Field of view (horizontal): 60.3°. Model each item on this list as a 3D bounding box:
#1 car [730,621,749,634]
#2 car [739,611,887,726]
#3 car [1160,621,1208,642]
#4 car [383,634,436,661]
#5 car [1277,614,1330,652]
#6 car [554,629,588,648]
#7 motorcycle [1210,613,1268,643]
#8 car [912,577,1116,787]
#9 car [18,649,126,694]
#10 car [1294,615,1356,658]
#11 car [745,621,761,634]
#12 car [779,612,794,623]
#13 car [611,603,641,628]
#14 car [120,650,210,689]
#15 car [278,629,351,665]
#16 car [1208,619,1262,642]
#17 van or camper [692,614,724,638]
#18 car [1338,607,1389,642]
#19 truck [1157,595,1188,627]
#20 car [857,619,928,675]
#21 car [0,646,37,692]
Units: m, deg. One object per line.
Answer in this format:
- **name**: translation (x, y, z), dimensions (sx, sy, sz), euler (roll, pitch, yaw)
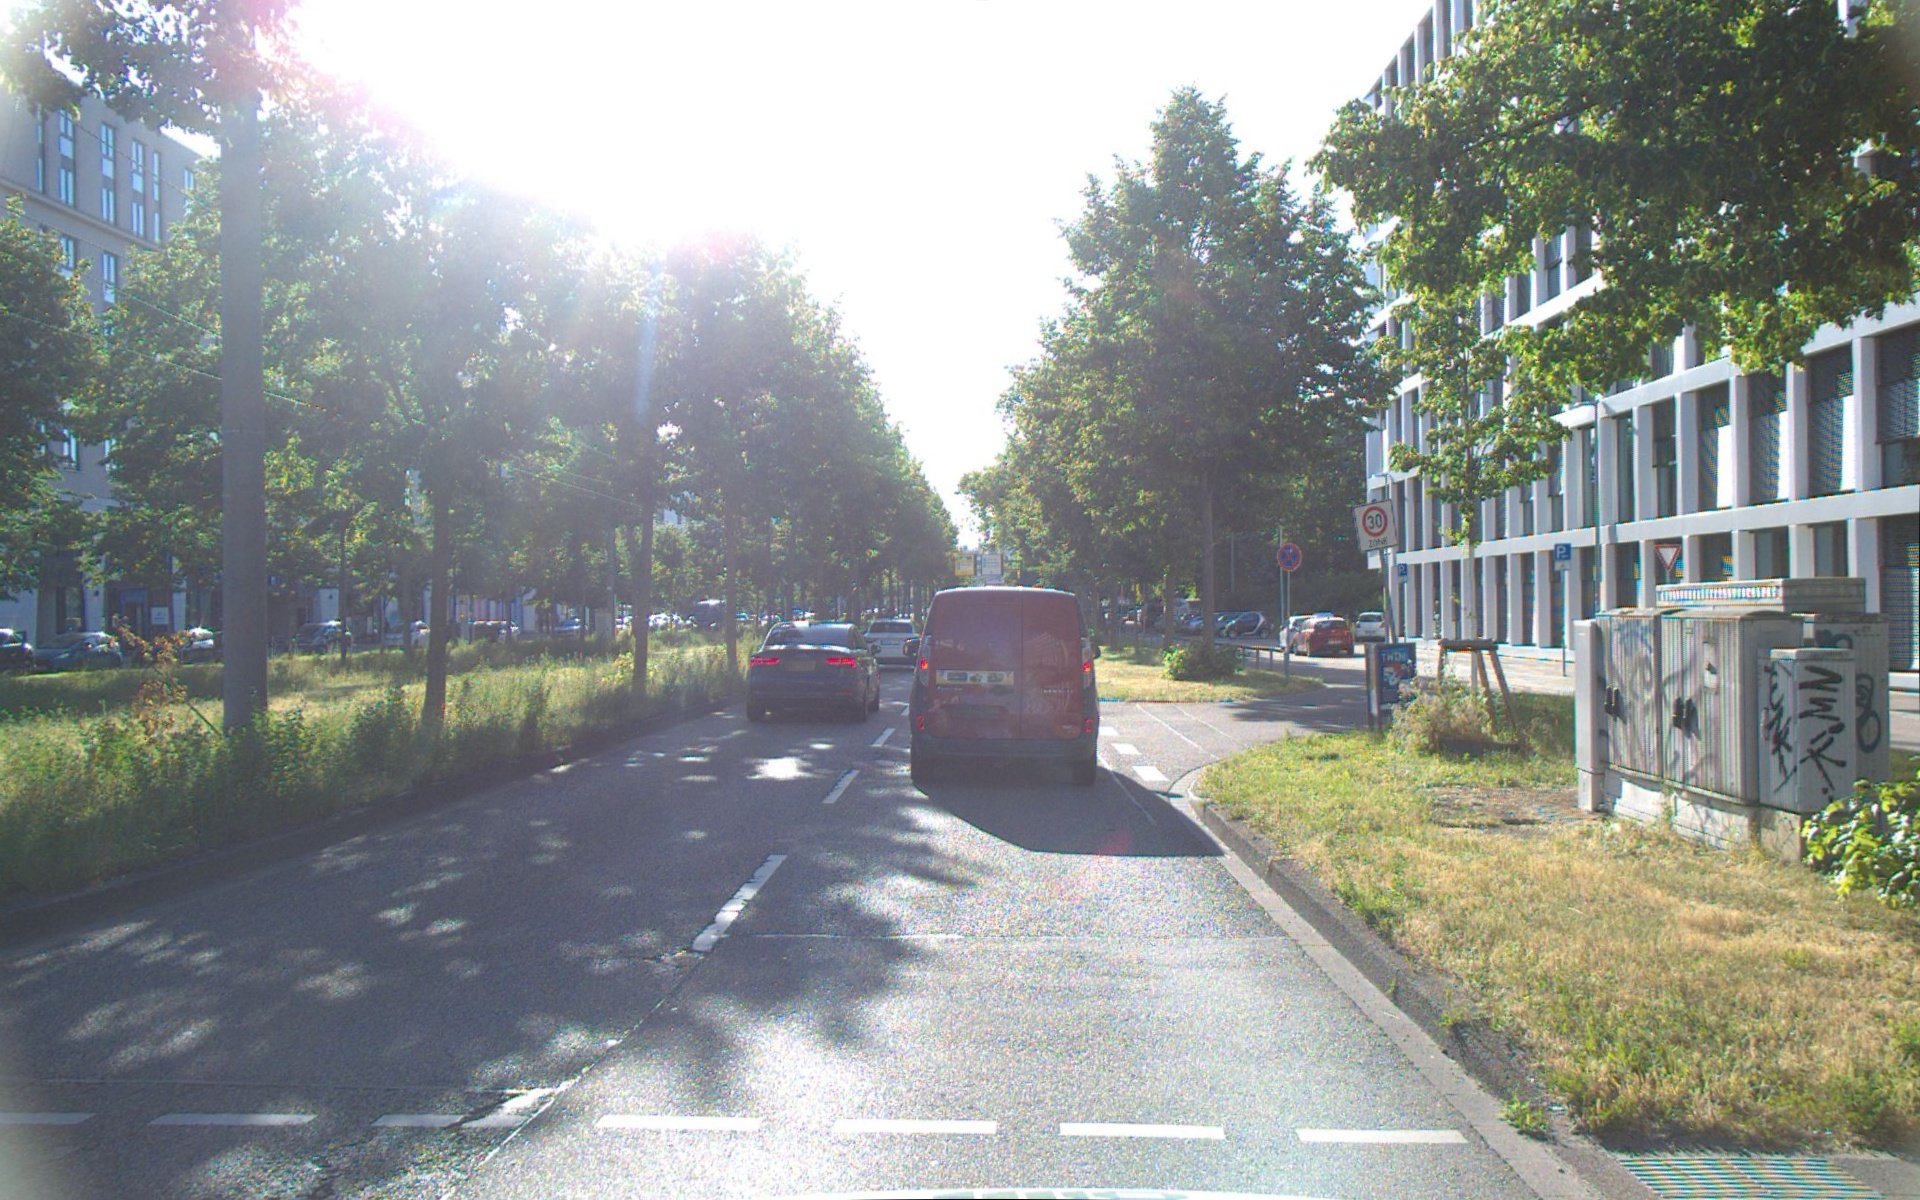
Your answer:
- **car**: translation (-27.281, 3.377, 204.546), dimensions (1.719, 1.601, 4.000), euler (-1, -1, 1)
- **car**: translation (-2.107, 0.958, 24.720), dimensions (1.771, 1.554, 4.113), euler (-1, -1, 1)
- **car**: translation (15.671, 2.215, 115.825), dimensions (3.326, 1.382, 1.472), euler (-1, -1, 8)
- **car**: translation (-29.153, 2.508, 87.709), dimensions (1.547, 1.366, 3.712), euler (-1, -1, 1)
- **car**: translation (14.590, 1.377, 70.333), dimensions (1.781, 1.559, 3.438), euler (-1, -1, 5)
- **car**: translation (-28.408, 2.794, 120.903), dimensions (1.547, 1.366, 3.712), euler (-1, -1, 1)
- **motorcycle**: translation (16.334, 1.619, 96.912), dimensions (3.326, 1.692, 1.472), euler (-1, -1, 8)
- **car**: translation (0.425, 0.731, 16.528), dimensions (1.771, 1.826, 4.111), euler (0, 0, -1)
- **car**: translation (-29.617, 2.351, 55.267), dimensions (1.547, 1.366, 3.712), euler (-1, -1, 1)
- **car**: translation (14.366, 1.425, 65.196), dimensions (1.721, 1.640, 3.904), euler (-1, -1, 3)
- **car**: translation (-27.195, 3.591, 217.550), dimensions (1.569, 1.583, 4.000), euler (-1, -1, 1)
- **car**: translation (-24.916, 2.505, 237.939), dimensions (1.719, 1.601, 4.000), euler (-1, 0, 1)
- **car**: translation (-27.630, 1.291, 136.945), dimensions (1.693, 2.049, 3.999), euler (-1, 0, -1)
- **car**: translation (-29.959, 2.605, 62.410), dimensions (1.547, 1.366, 3.712), euler (-1, -1, 1)
- **car**: translation (-29.165, 2.105, 74.855), dimensions (1.739, 1.555, 3.806), euler (-1, -1, 1)
- **car**: translation (17.282, 1.925, 104.028), dimensions (3.326, 1.382, 1.472), euler (-1, -1, 8)
- **van or camper**: translation (-19.201, 1.973, 126.106), dimensions (1.783, 1.769, 3.712), euler (-1, -1, 1)
- **car**: translation (21.695, 1.309, 89.122), dimensions (1.952, 1.848, 4.001), euler (0, -1, 3)
- **truck**: translation (17.473, 0.950, 136.110), dimensions (1.794, 2.545, 5.932), euler (0, -1, 1)
- **car**: translation (-1.853, 1.273, 46.384), dimensions (1.771, 1.460, 4.113), euler (-1, -1, 0)
- **car**: translation (-29.496, 2.087, 49.554), dimensions (1.547, 1.366, 3.712), euler (-1, -1, 1)
